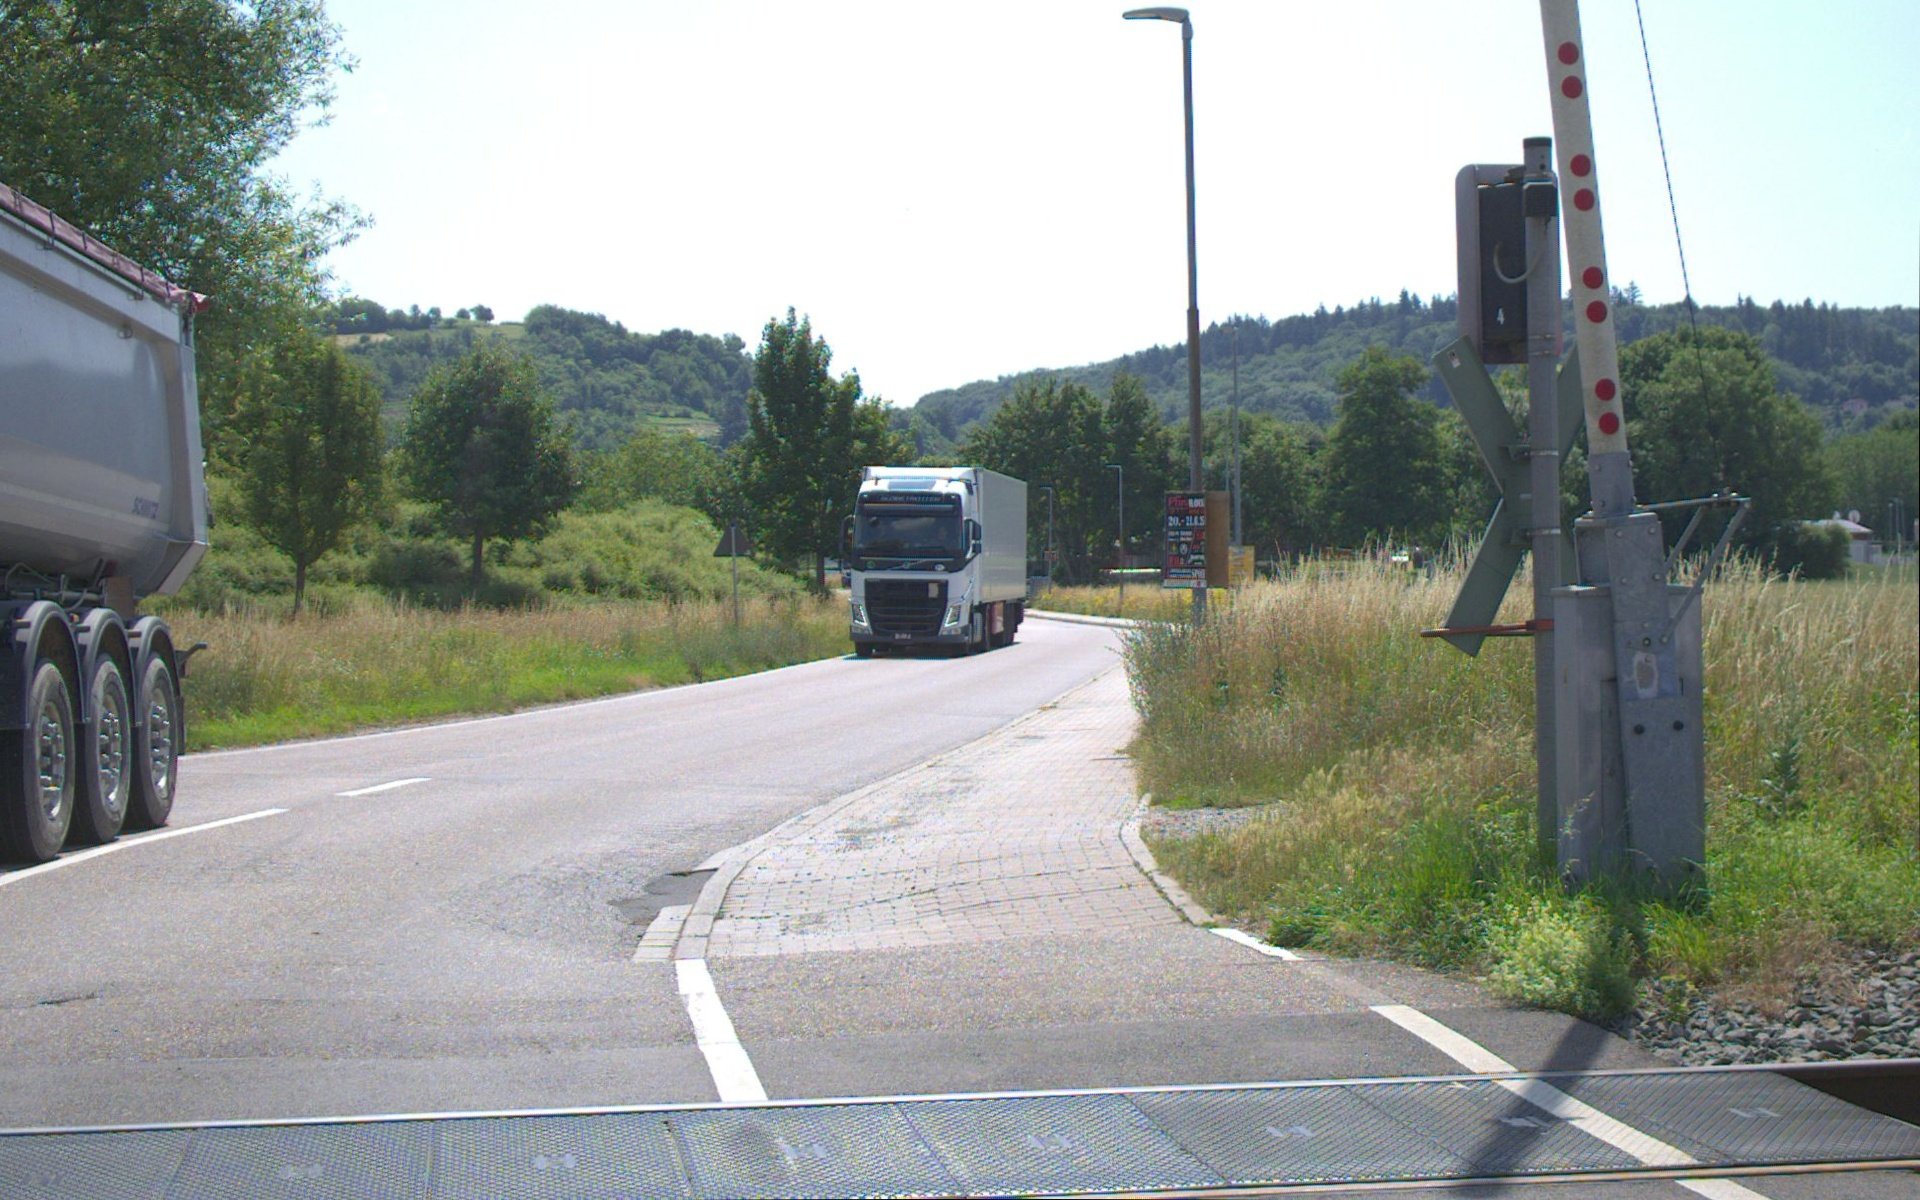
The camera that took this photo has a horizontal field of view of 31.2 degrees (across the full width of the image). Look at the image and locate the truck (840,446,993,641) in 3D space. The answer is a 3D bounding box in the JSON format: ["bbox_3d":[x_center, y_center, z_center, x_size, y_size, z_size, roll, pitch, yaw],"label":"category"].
[{"bbox_3d":[-0.856,-1.192,73.413,2.571,3.935,6.038,-1,1,5],"label":"truck"}]

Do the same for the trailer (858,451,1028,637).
[{"bbox_3d":[-0.235,-1.270,79.968,2.584,3.935,13.056,-1,1,5],"label":"trailer"}]

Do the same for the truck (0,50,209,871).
[{"bbox_3d":[-5.768,-0.626,15.075,2.871,3.732,12.150,0,1,-3],"label":"truck"}]
